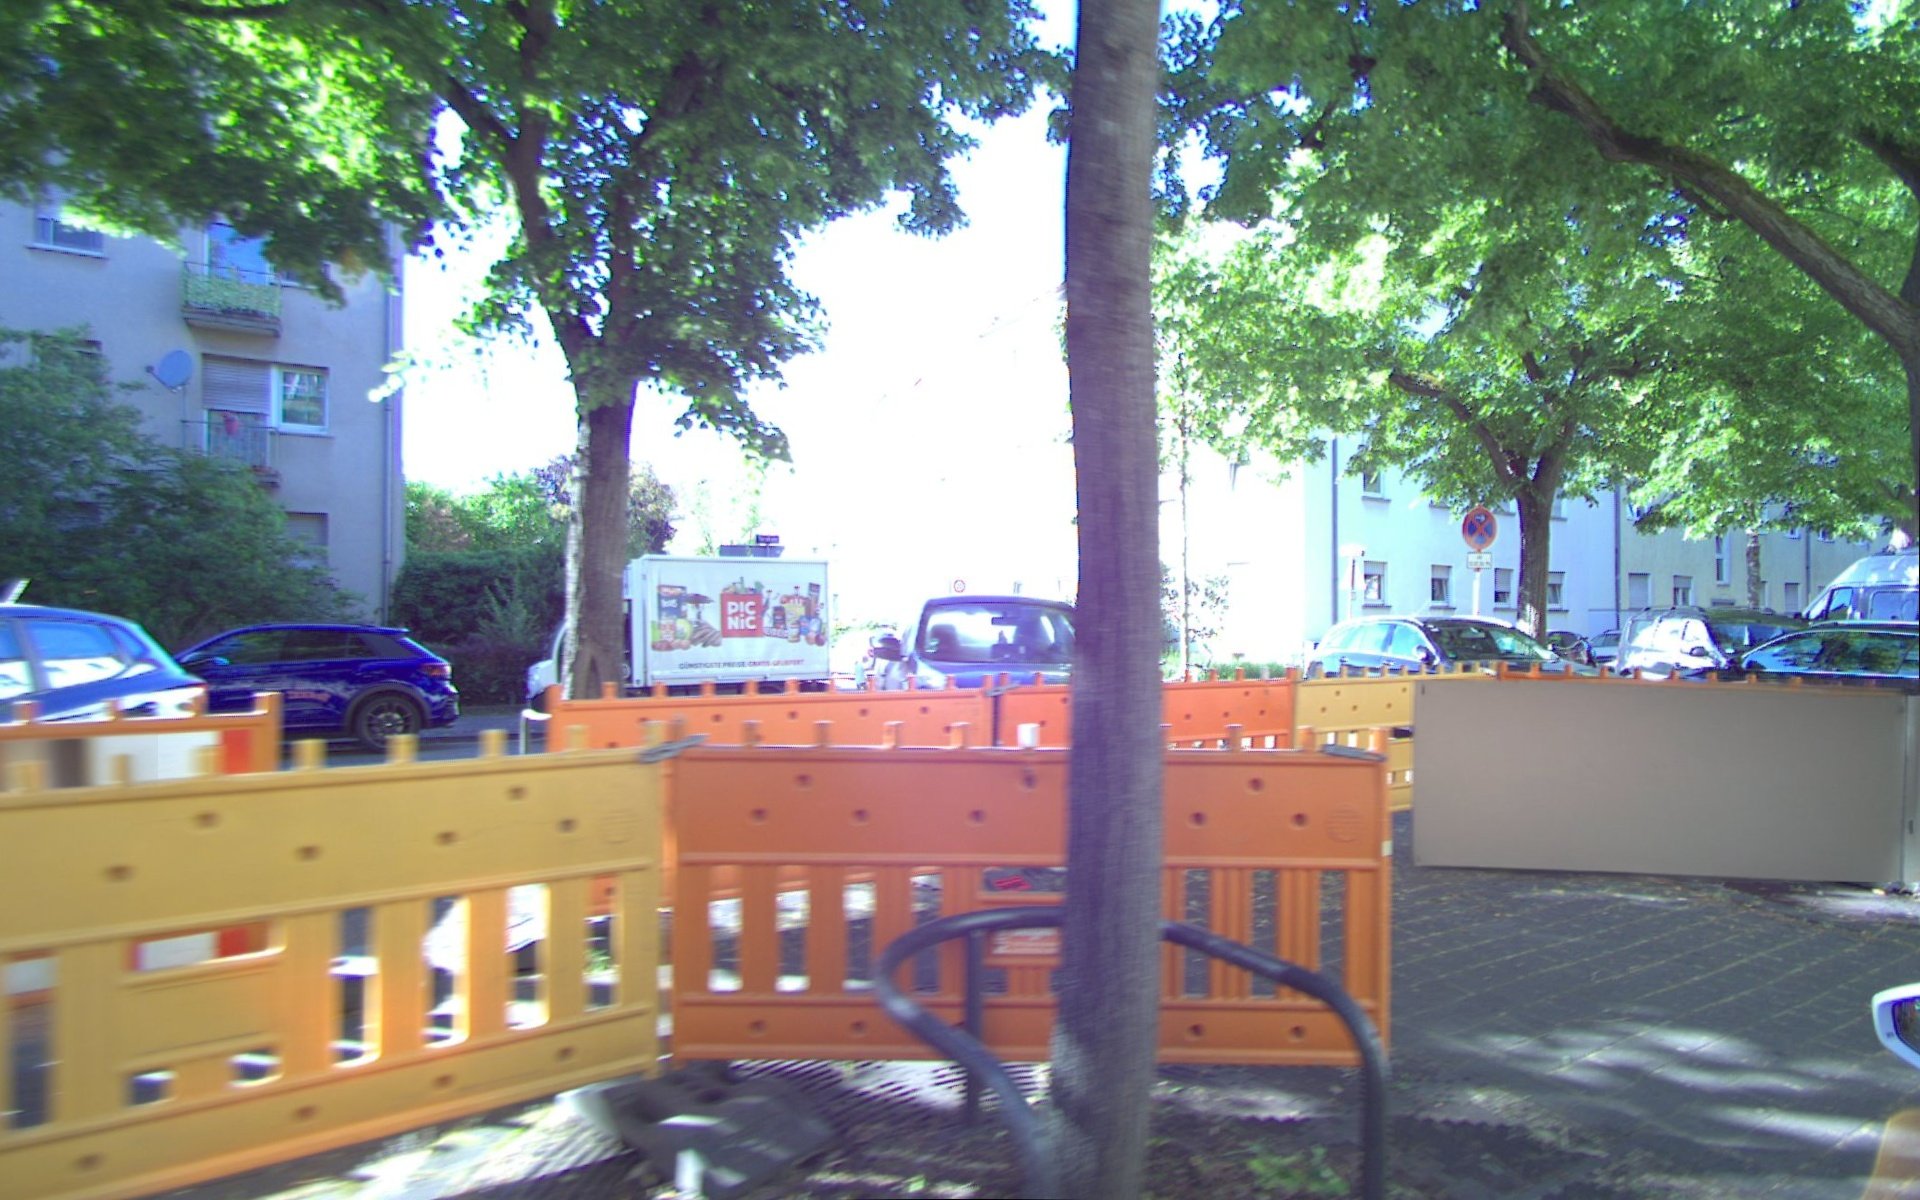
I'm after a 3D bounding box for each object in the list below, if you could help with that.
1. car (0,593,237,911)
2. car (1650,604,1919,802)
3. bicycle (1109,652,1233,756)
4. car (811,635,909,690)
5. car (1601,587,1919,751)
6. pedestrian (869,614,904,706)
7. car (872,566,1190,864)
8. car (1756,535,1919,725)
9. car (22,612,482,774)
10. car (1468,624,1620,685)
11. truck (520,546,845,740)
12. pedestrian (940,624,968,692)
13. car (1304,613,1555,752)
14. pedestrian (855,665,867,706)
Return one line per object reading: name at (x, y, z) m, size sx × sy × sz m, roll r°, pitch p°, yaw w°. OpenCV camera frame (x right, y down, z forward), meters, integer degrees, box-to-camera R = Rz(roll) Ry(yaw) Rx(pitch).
car at (-5.235, 0.703, 4.575) m, size 1.549 × 1.480 × 3.907 m, roll 0°, pitch -1°, yaw -10°
car at (8.337, 0.879, 8.834) m, size 1.668 × 1.545 × 4.101 m, roll 3°, pitch -1°, yaw 0°
bicycle at (2.225, 1.074, 10.778) m, size 0.280 × 0.993 × 1.616 m, roll 1°, pitch -2°, yaw -30°
car at (-3.185, 1.888, 31.334) m, size 1.633 × 1.538 × 3.970 m, roll 1°, pitch -1°, yaw -29°
car at (11.060, 0.864, 14.241) m, size 1.959 × 1.940 × 4.387 m, roll 0°, pitch -1°, yaw 13°
pedestrian at (-1.493, 1.213, 20.436) m, size 0.657 × 1.847 × 0.583 m, roll 0°, pitch -1°, yaw -9°
car at (0.239, 0.702, 7.721) m, size 1.667 × 1.647 × 4.129 m, roll 0°, pitch -2°, yaw -7°
car at (14.207, 0.428, 13.387) m, size 2.291 × 2.592 × 6.330 m, roll 1°, pitch 0°, yaw 2°
car at (-8.012, 0.966, 11.809) m, size 4.148 × 1.595 × 1.611 m, roll 1°, pitch 0°, yaw -33°
car at (15.051, 1.369, 25.841) m, size 4.038 × 1.455 × 1.740 m, roll 1°, pitch -3°, yaw -33°
truck at (-3.979, 0.597, 14.522) m, size 4.211 × 2.441 × 1.914 m, roll 1°, pitch -2°, yaw -29°
pedestrian at (-0.147, 1.434, 24.970) m, size 0.549 × 1.661 × 0.486 m, roll 1°, pitch -2°, yaw -26°
car at (5.571, 0.912, 12.256) m, size 1.223 × 1.472 × 2.949 m, roll 1°, pitch -1°, yaw -13°
pedestrian at (-2.019, 1.744, 20.487) m, size 0.189 × 0.824 × 0.223 m, roll 3°, pitch -4°, yaw -5°
